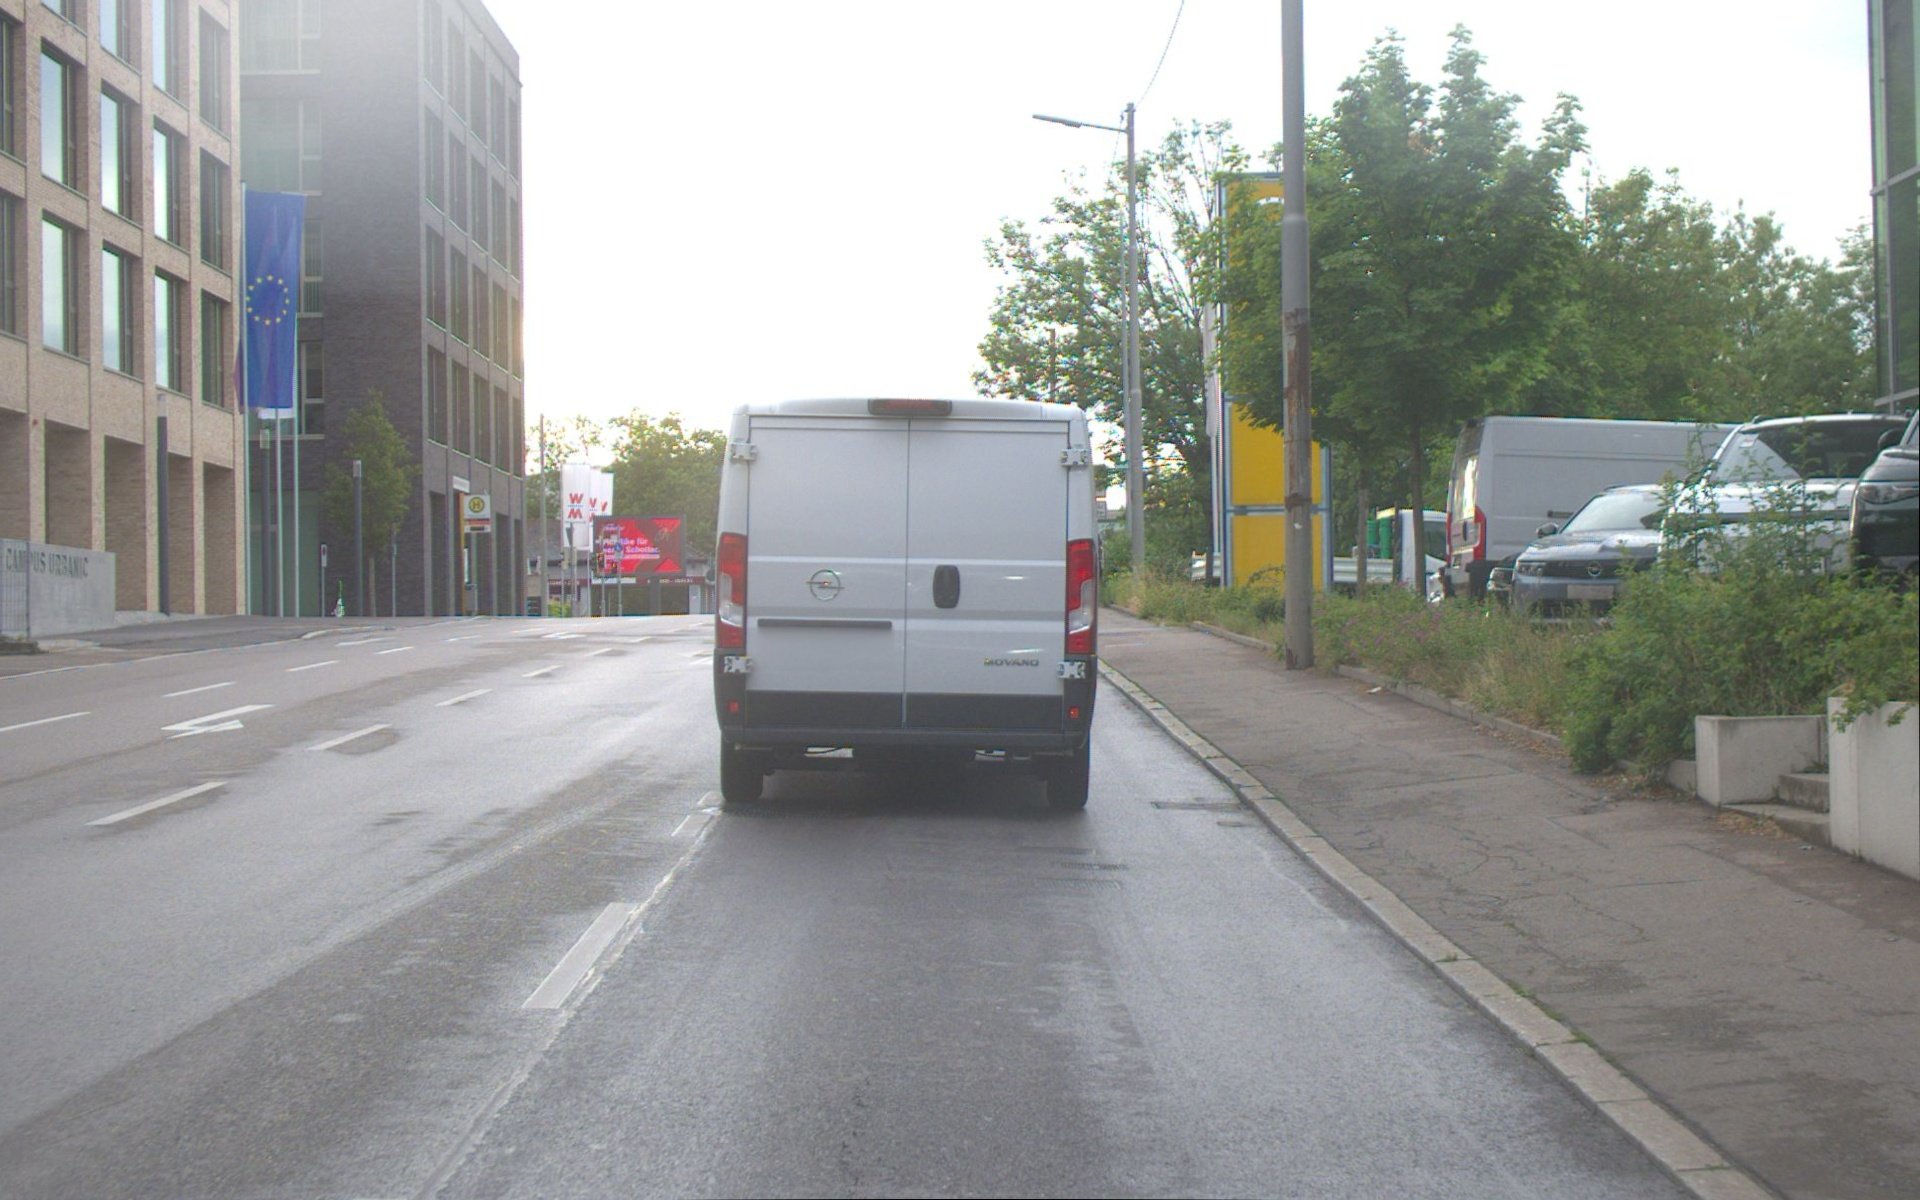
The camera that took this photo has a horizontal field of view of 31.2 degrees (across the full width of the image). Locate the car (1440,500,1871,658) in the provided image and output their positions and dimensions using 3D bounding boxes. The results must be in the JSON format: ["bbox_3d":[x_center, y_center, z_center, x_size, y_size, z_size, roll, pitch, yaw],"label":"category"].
[{"bbox_3d":[7.006,-0.227,34.371,4.506,1.449,1.915,-1,0,-43],"label":"car"}]

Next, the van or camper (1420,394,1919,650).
[{"bbox_3d":[8.204,-0.858,38.558,5.736,2.714,2.352,1,1,0],"label":"van or camper"}]

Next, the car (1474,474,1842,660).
[{"bbox_3d":[6.150,-0.275,29.877,1.912,1.449,4.565,-2,0,28],"label":"car"}]

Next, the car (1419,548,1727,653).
[{"bbox_3d":[8.540,-0.013,48.139,3.987,1.423,1.895,0,1,1],"label":"car"}]

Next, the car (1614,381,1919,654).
[{"bbox_3d":[6.177,-0.542,24.551,1.996,1.705,4.572,-2,0,23],"label":"car"}]

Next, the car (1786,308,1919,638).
[{"bbox_3d":[6.273,-0.697,19.759,1.996,1.705,4.422,-2,0,26],"label":"car"}]

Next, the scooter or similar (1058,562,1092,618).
[{"bbox_3d":[3.209,-0.278,95.974,0.434,1.559,1.273,0,1,-22],"label":"scooter or similar"}]

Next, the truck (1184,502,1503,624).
[{"bbox_3d":[6.578,-0.651,59.430,5.147,2.007,2.345,1,1,-2],"label":"truck"}]

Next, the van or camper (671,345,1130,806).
[{"bbox_3d":[-0.288,-0.162,20.322,2.340,2.349,5.199,1,1,0],"label":"van or camper"}]

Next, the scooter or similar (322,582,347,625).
[{"bbox_3d":[-15.990,0.083,87.952,0.351,1.068,1.428,1,-1,0],"label":"scooter or similar"}]
